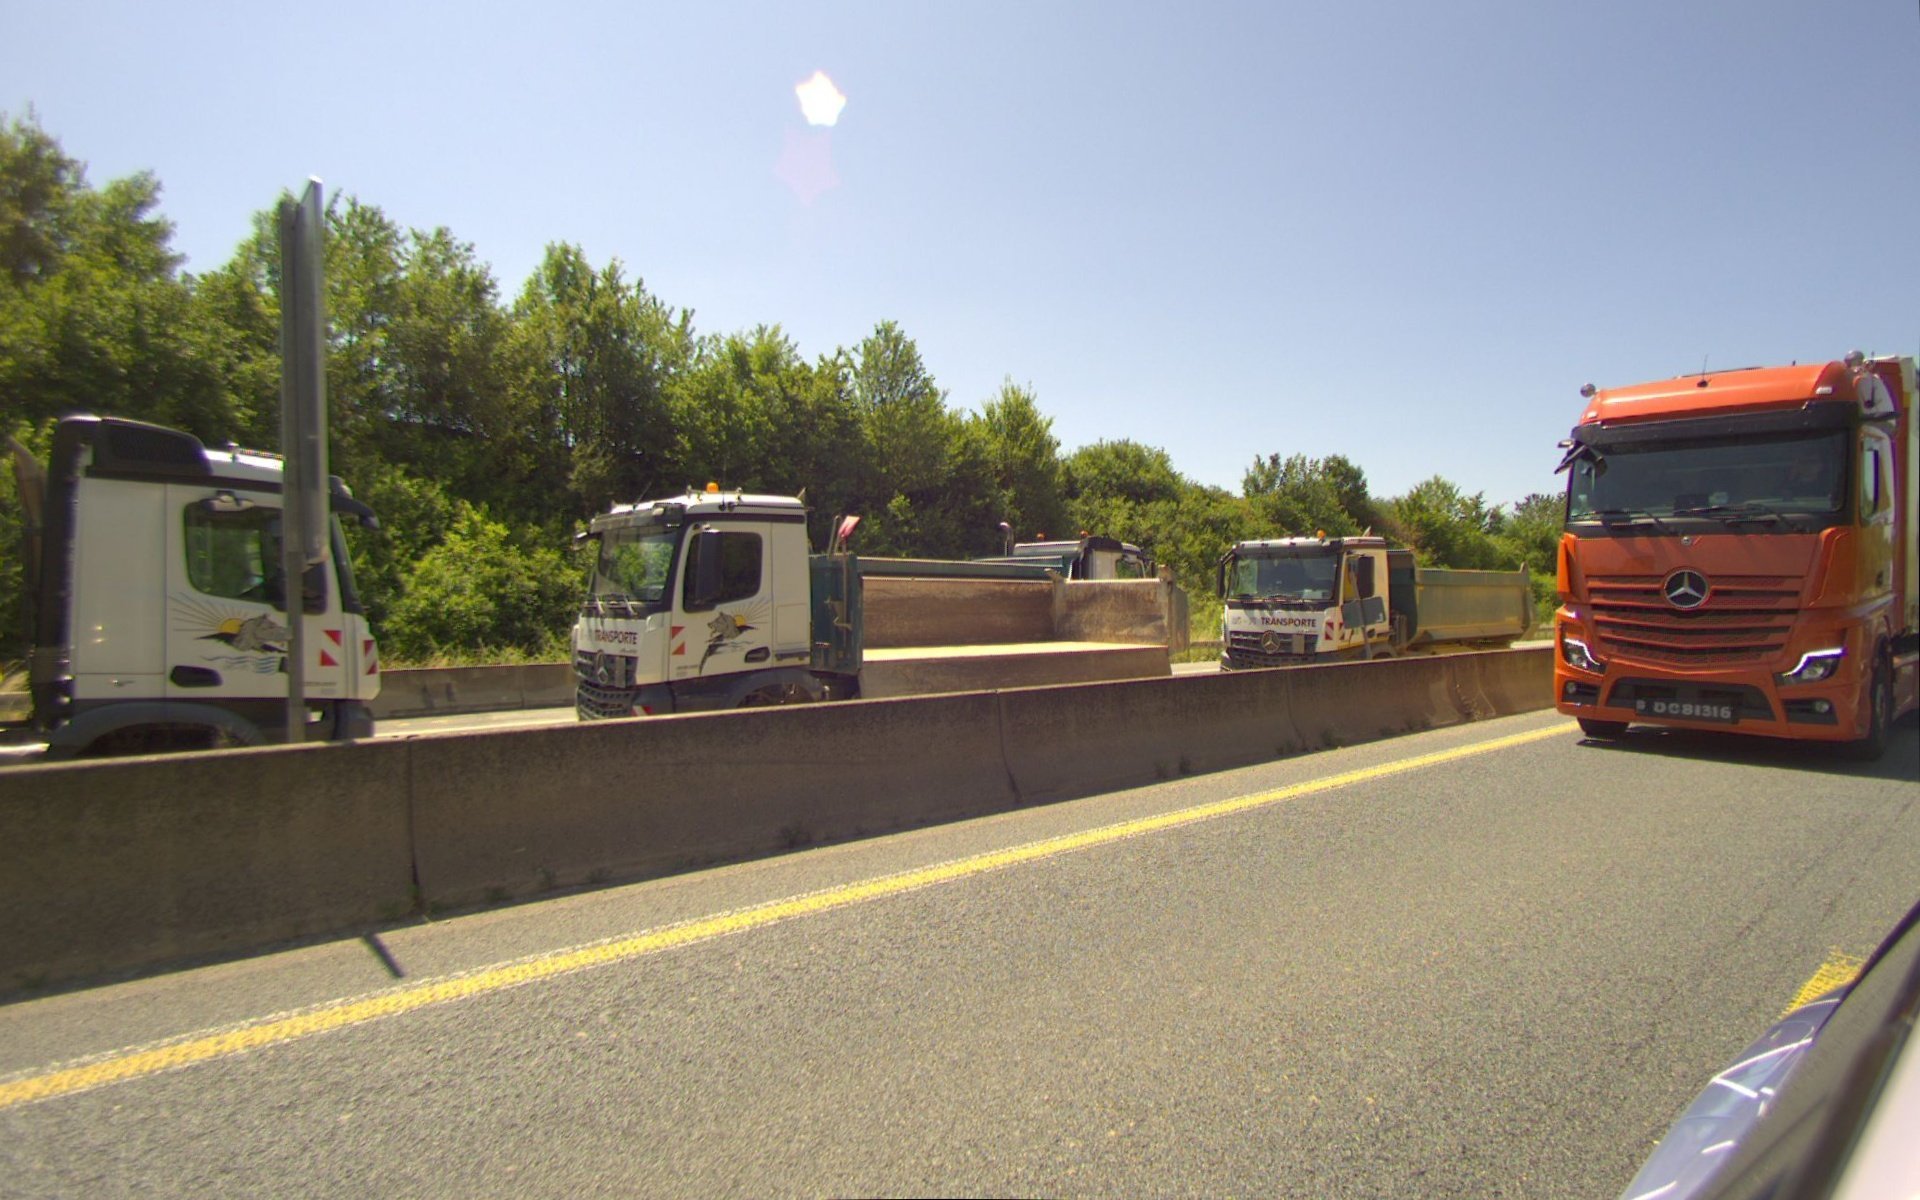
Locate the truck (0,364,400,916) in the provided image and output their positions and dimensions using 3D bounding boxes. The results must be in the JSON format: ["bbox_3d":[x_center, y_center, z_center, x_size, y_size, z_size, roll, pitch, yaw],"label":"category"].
[{"bbox_3d":[-8.877,0.262,5.990,9.436,3.602,2.542,0,0,-42],"label":"truck"}]

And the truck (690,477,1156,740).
[{"bbox_3d":[-0.240,0.099,17.422,8.235,3.555,2.691,0,0,-42],"label":"truck"}]

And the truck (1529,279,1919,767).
[{"bbox_3d":[9.295,-0.675,11.591,6.606,4.061,2.687,-1,0,-40],"label":"truck"}]

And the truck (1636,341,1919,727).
[{"bbox_3d":[14.239,-0.754,15.822,12.986,4.061,2.687,-1,0,-41],"label":"truck"}]

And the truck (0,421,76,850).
[{"bbox_3d":[-12.140,0.301,6.691,9.435,3.602,2.691,0,0,-41],"label":"truck"}]

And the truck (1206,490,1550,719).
[{"bbox_3d":[8.454,0.051,19.667,8.939,3.555,2.537,0,0,-42],"label":"truck"}]

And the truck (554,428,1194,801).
[{"bbox_3d":[-0.529,0.127,13.531,8.789,3.555,2.537,0,0,-42],"label":"truck"}]
